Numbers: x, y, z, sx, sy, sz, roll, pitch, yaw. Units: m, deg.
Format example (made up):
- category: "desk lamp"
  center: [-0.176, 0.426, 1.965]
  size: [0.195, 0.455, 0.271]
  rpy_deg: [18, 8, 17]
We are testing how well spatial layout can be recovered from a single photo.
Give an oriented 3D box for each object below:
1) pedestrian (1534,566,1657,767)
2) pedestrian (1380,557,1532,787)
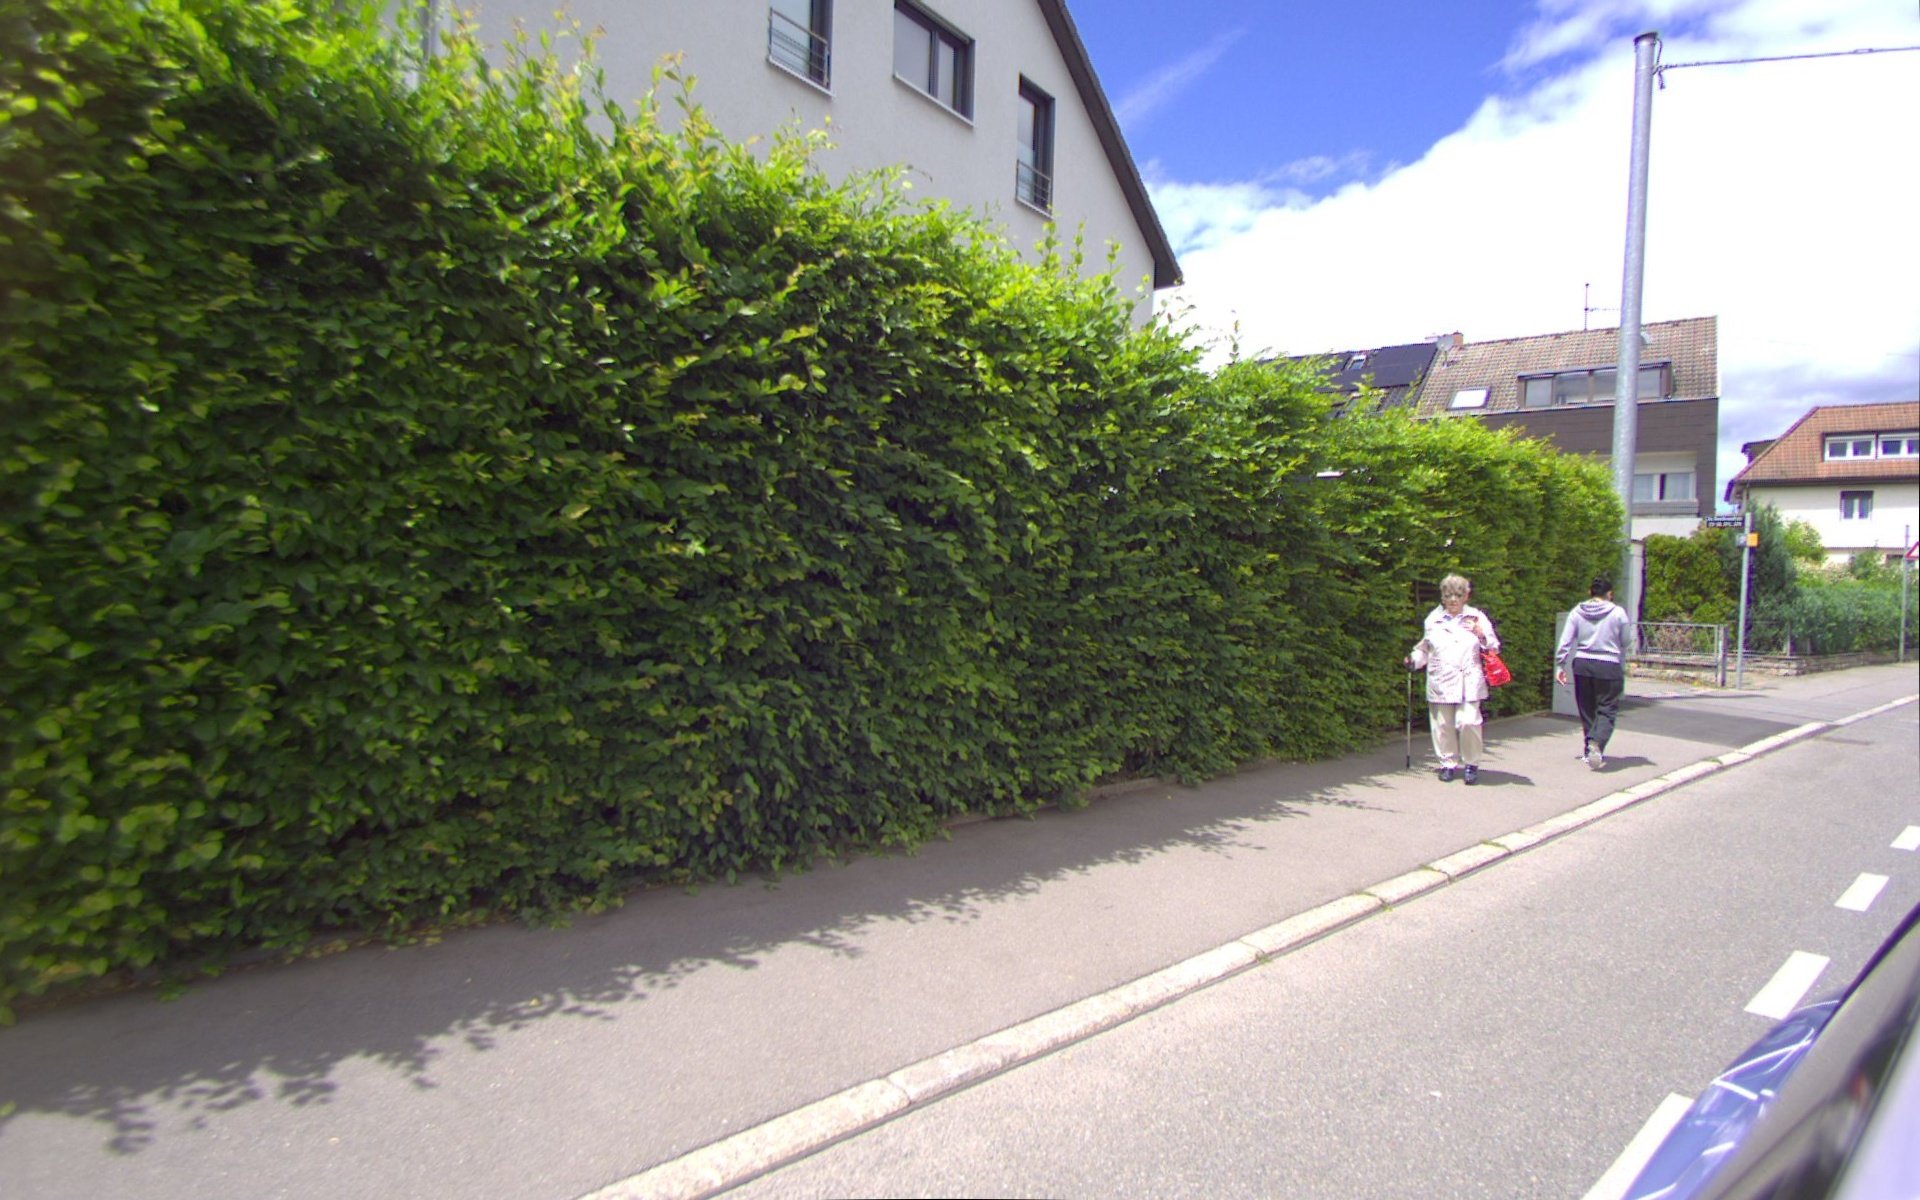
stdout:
- category: "pedestrian"
  center: [5.497, 0.541, 8.749]
  size: [0.821, 1.625, 0.604]
  rpy_deg: [1, 3, -40]
- category: "pedestrian"
  center: [3.801, 0.508, 7.779]
  size: [0.641, 1.637, 0.801]
  rpy_deg: [1, 2, -40]
